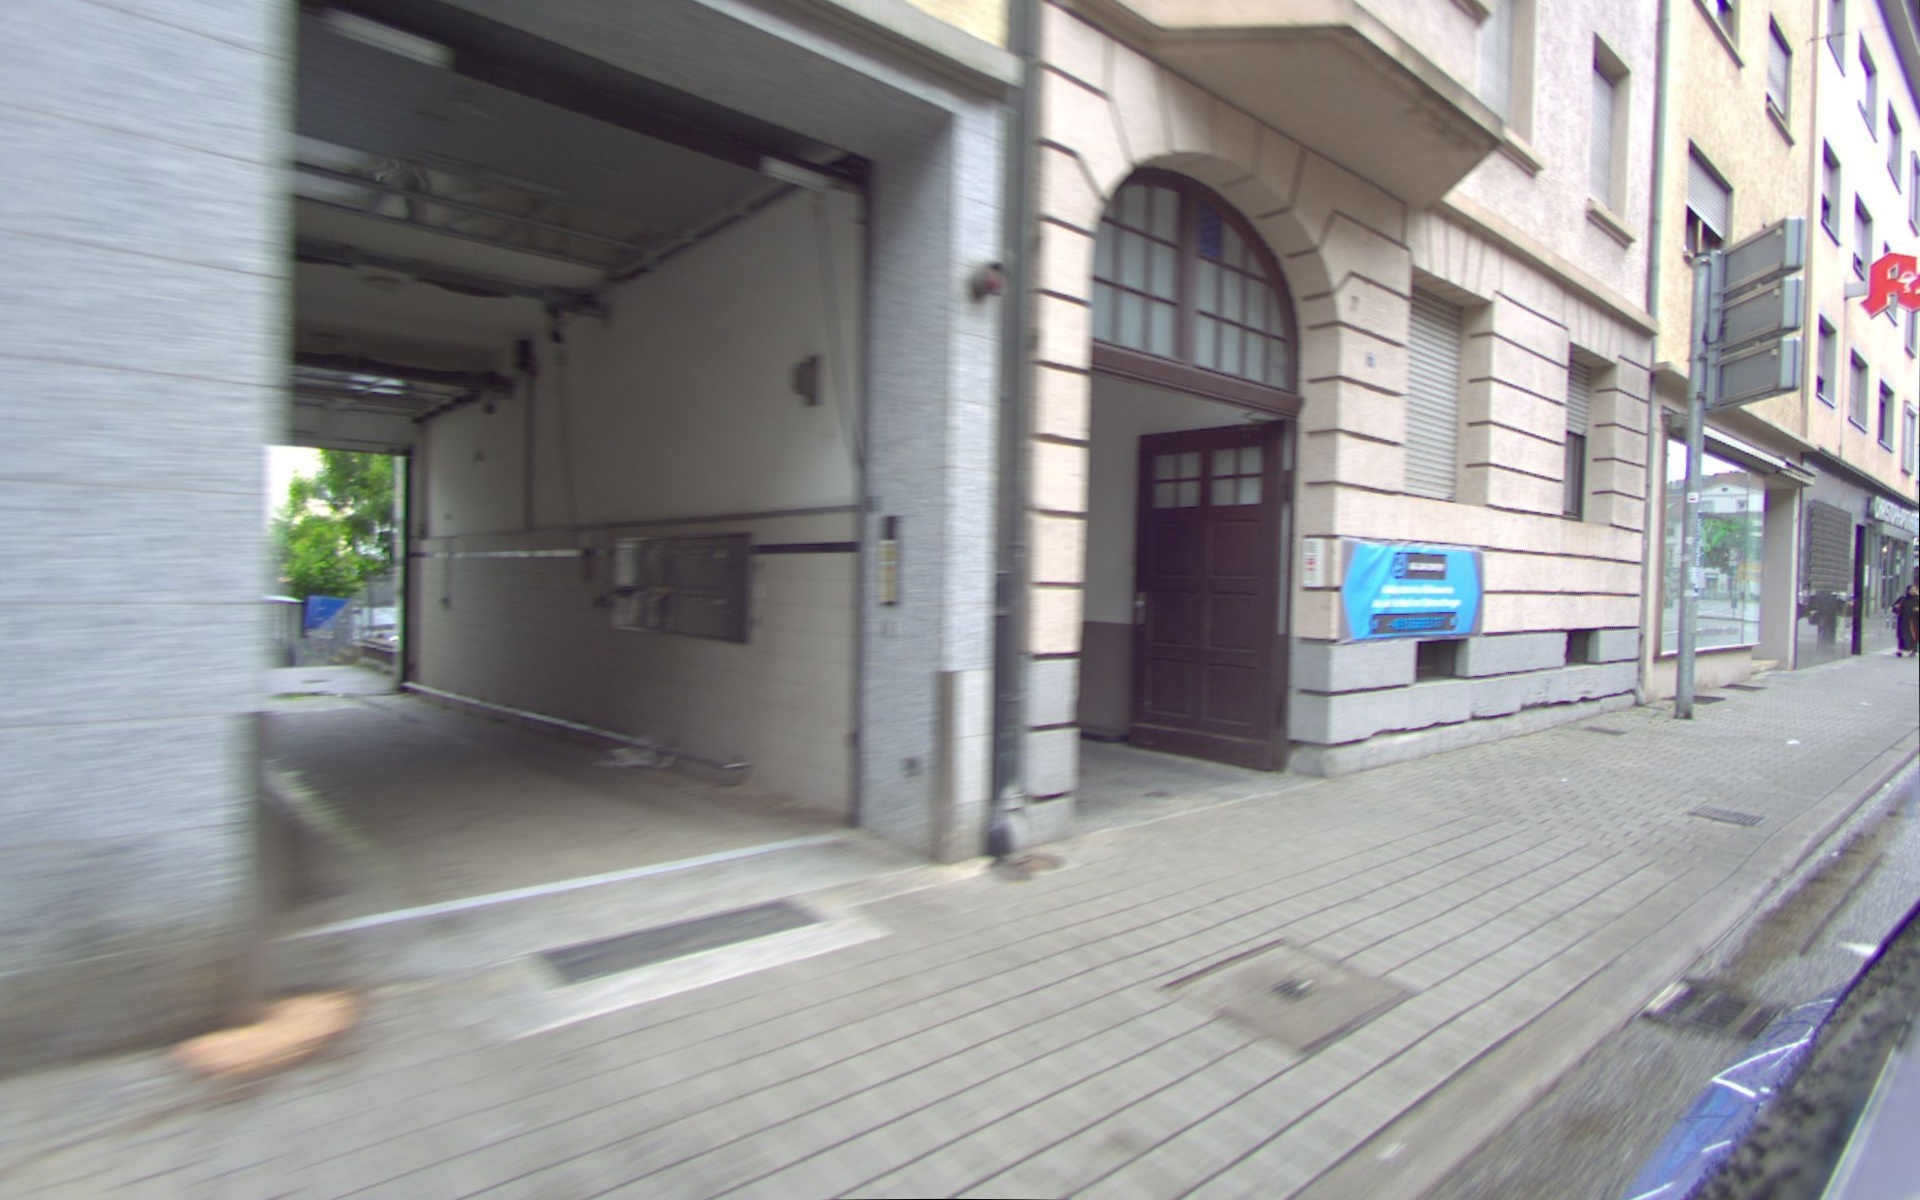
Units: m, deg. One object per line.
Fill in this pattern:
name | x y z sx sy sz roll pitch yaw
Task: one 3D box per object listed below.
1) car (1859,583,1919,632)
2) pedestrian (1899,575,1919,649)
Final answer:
car | 33.146 0.285 34.161 1.900 1.593 3.838 -1 3 -35
pedestrian | 20.998 0.258 21.995 0.861 1.579 0.769 -1 2 -42
